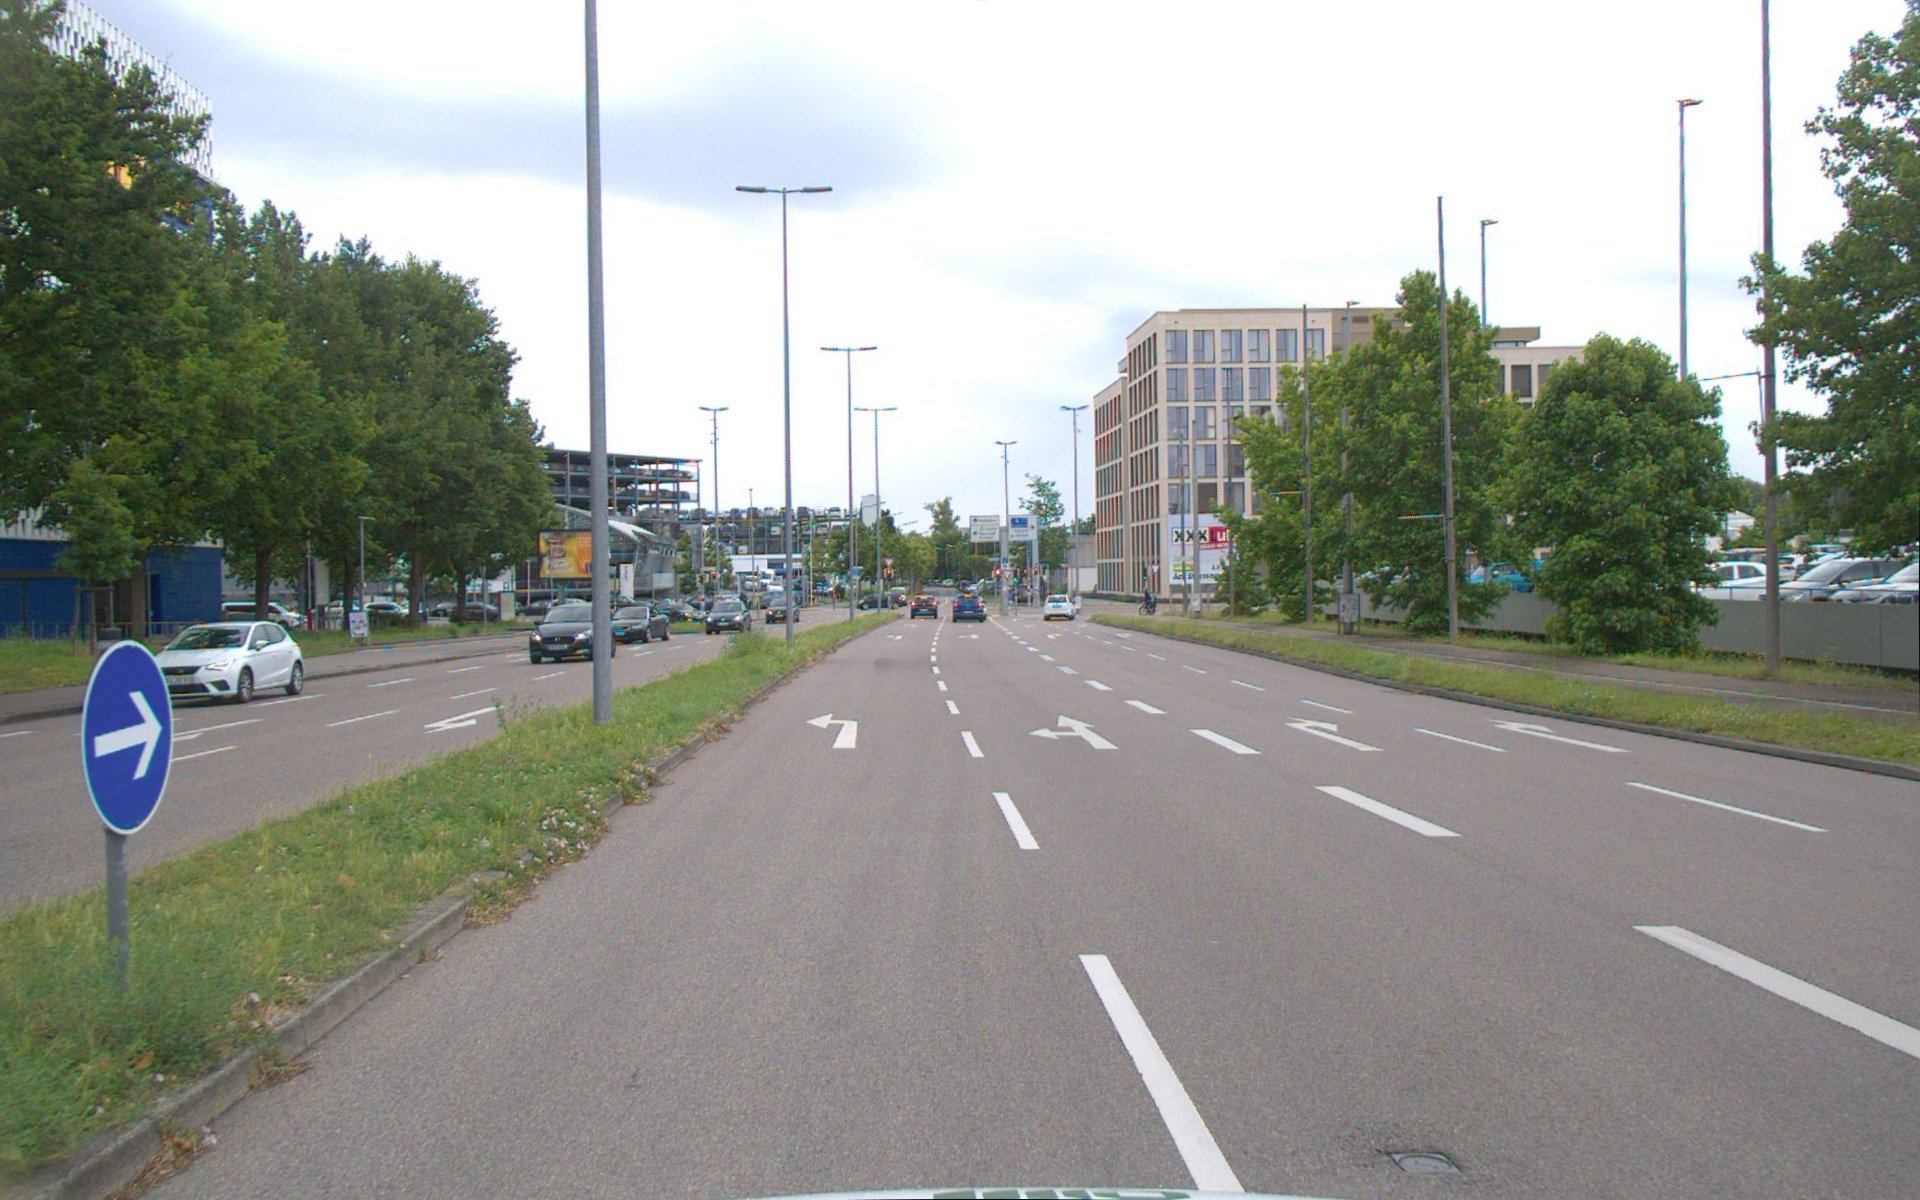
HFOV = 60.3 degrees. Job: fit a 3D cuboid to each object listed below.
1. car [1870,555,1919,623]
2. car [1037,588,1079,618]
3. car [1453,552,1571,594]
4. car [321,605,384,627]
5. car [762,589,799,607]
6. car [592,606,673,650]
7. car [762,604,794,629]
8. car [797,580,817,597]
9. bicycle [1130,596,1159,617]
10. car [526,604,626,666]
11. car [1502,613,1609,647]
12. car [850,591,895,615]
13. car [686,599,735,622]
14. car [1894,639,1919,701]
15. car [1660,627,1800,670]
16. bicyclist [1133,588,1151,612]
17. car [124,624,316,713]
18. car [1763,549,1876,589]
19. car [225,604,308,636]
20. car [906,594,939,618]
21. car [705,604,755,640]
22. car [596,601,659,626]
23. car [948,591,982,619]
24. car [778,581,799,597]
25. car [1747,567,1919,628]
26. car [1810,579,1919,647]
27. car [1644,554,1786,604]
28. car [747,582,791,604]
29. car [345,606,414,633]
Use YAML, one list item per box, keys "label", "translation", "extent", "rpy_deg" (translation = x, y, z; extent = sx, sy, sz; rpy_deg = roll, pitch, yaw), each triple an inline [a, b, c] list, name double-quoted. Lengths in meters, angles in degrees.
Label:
- label: "car"
  translation: [21.815, -0.269, 35.094]
  extent: [4.069, 1.373, 1.809]
  rpy_deg: [-1, 2, -3]
- label: "car"
  translation: [5.980, 0.164, 100.815]
  extent: [1.951, 1.783, 4.184]
  rpy_deg: [-1, 0, 12]
- label: "car"
  translation: [21.514, -1.074, 64.492]
  extent: [3.989, 1.551, 1.810]
  rpy_deg: [-1, 2, -6]
- label: "car"
  translation: [-48.432, 1.274, 131.884]
  extent: [4.333, 1.689, 1.996]
  rpy_deg: [-1, 0, -8]
- label: "car"
  translation: [-17.449, -0.198, 160.672]
  extent: [3.535, 1.697, 1.547]
  rpy_deg: [-1, 2, -6]
- label: "car"
  translation: [-12.297, 1.009, 62.345]
  extent: [1.734, 1.477, 4.408]
  rpy_deg: [-3, 0, 5]
- label: "car"
  translation: [-10.955, 0.974, 99.855]
  extent: [1.894, 1.481, 4.177]
  rpy_deg: [-1, 0, -6]
- label: "car"
  translation: [-17.951, -1.364, 193.977]
  extent: [1.738, 1.735, 3.919]
  rpy_deg: [-1, 2, 4]
- label: "bicycle"
  translation: [12.013, 0.431, 107.867]
  extent: [0.695, 1.318, 1.984]
  rpy_deg: [-1, 1, -37]
- label: "car"
  translation: [-10.152, 0.896, 43.981]
  extent: [1.722, 1.478, 3.999]
  rpy_deg: [-3, 0, -1]
- label: "car"
  translation: [25.686, 1.286, 71.369]
  extent: [3.972, 1.374, 1.763]
  rpy_deg: [0, 0, -2]
- label: "car"
  translation: [-7.235, 0.228, 136.913]
  extent: [3.606, 1.802, 1.743]
  rpy_deg: [-1, 2, -7]
- label: "car"
  translation: [-20.053, 0.843, 133.166]
  extent: [3.783, 1.663, 1.723]
  rpy_deg: [-1, 2, -7]
- label: "car"
  translation: [26.854, 1.819, 43.166]
  extent: [3.973, 1.579, 1.763]
  rpy_deg: [0, 0, -3]
- label: "car"
  translation: [26.250, 1.645, 56.456]
  extent: [3.971, 1.374, 1.763]
  rpy_deg: [0, 0, -1]
- label: "bicyclist"
  translation: [11.880, 0.005, 108.047]
  extent: [0.695, 1.530, 0.987]
  rpy_deg: [-1, 1, -37]
- label: "car"
  translation: [-13.585, 1.212, 30.637]
  extent: [1.829, 1.480, 4.165]
  rpy_deg: [-2, -1, -3]
- label: "car"
  translation: [35.579, -1.293, 68.504]
  extent: [3.764, 1.534, 1.784]
  rpy_deg: [-1, 1, 0]
- label: "car"
  translation: [-49.011, 1.403, 116.966]
  extent: [5.029, 1.998, 1.880]
  rpy_deg: [-1, 3, -2]
- label: "car"
  translation: [-2.385, 0.381, 105.061]
  extent: [1.948, 1.453, 4.238]
  rpy_deg: [-1, -1, -3]
- label: "car"
  translation: [-10.517, 0.984, 75.853]
  extent: [1.744, 1.481, 4.180]
  rpy_deg: [-3, 0, -2]
- label: "car"
  translation: [-23.994, 0.975, 119.425]
  extent: [4.333, 1.689, 1.996]
  rpy_deg: [-1, 0, -8]
- label: "car"
  translation: [0.285, 0.295, 93.643]
  extent: [1.798, 1.541, 3.999]
  rpy_deg: [-1, 0, -1]
- label: "car"
  translation: [-20.095, -1.328, 193.889]
  extent: [1.738, 1.735, 3.919]
  rpy_deg: [-1, 2, 4]
- label: "car"
  translation: [21.772, -0.074, 40.714]
  extent: [3.973, 1.373, 1.763]
  rpy_deg: [-1, 2, -3]
- label: "car"
  translation: [21.994, 0.265, 38.100]
  extent: [3.973, 1.423, 1.763]
  rpy_deg: [-1, 2, -3]
- label: "car"
  translation: [21.822, -0.630, 47.848]
  extent: [3.447, 1.330, 1.604]
  rpy_deg: [-1, 2, -7]
- label: "car"
  translation: [-17.303, -0.650, 149.921]
  extent: [3.910, 1.821, 1.845]
  rpy_deg: [-1, 2, -6]
- label: "car"
  translation: [-42.405, 1.393, 120.806]
  extent: [4.348, 1.740, 1.998]
  rpy_deg: [-1, 4, -7]
